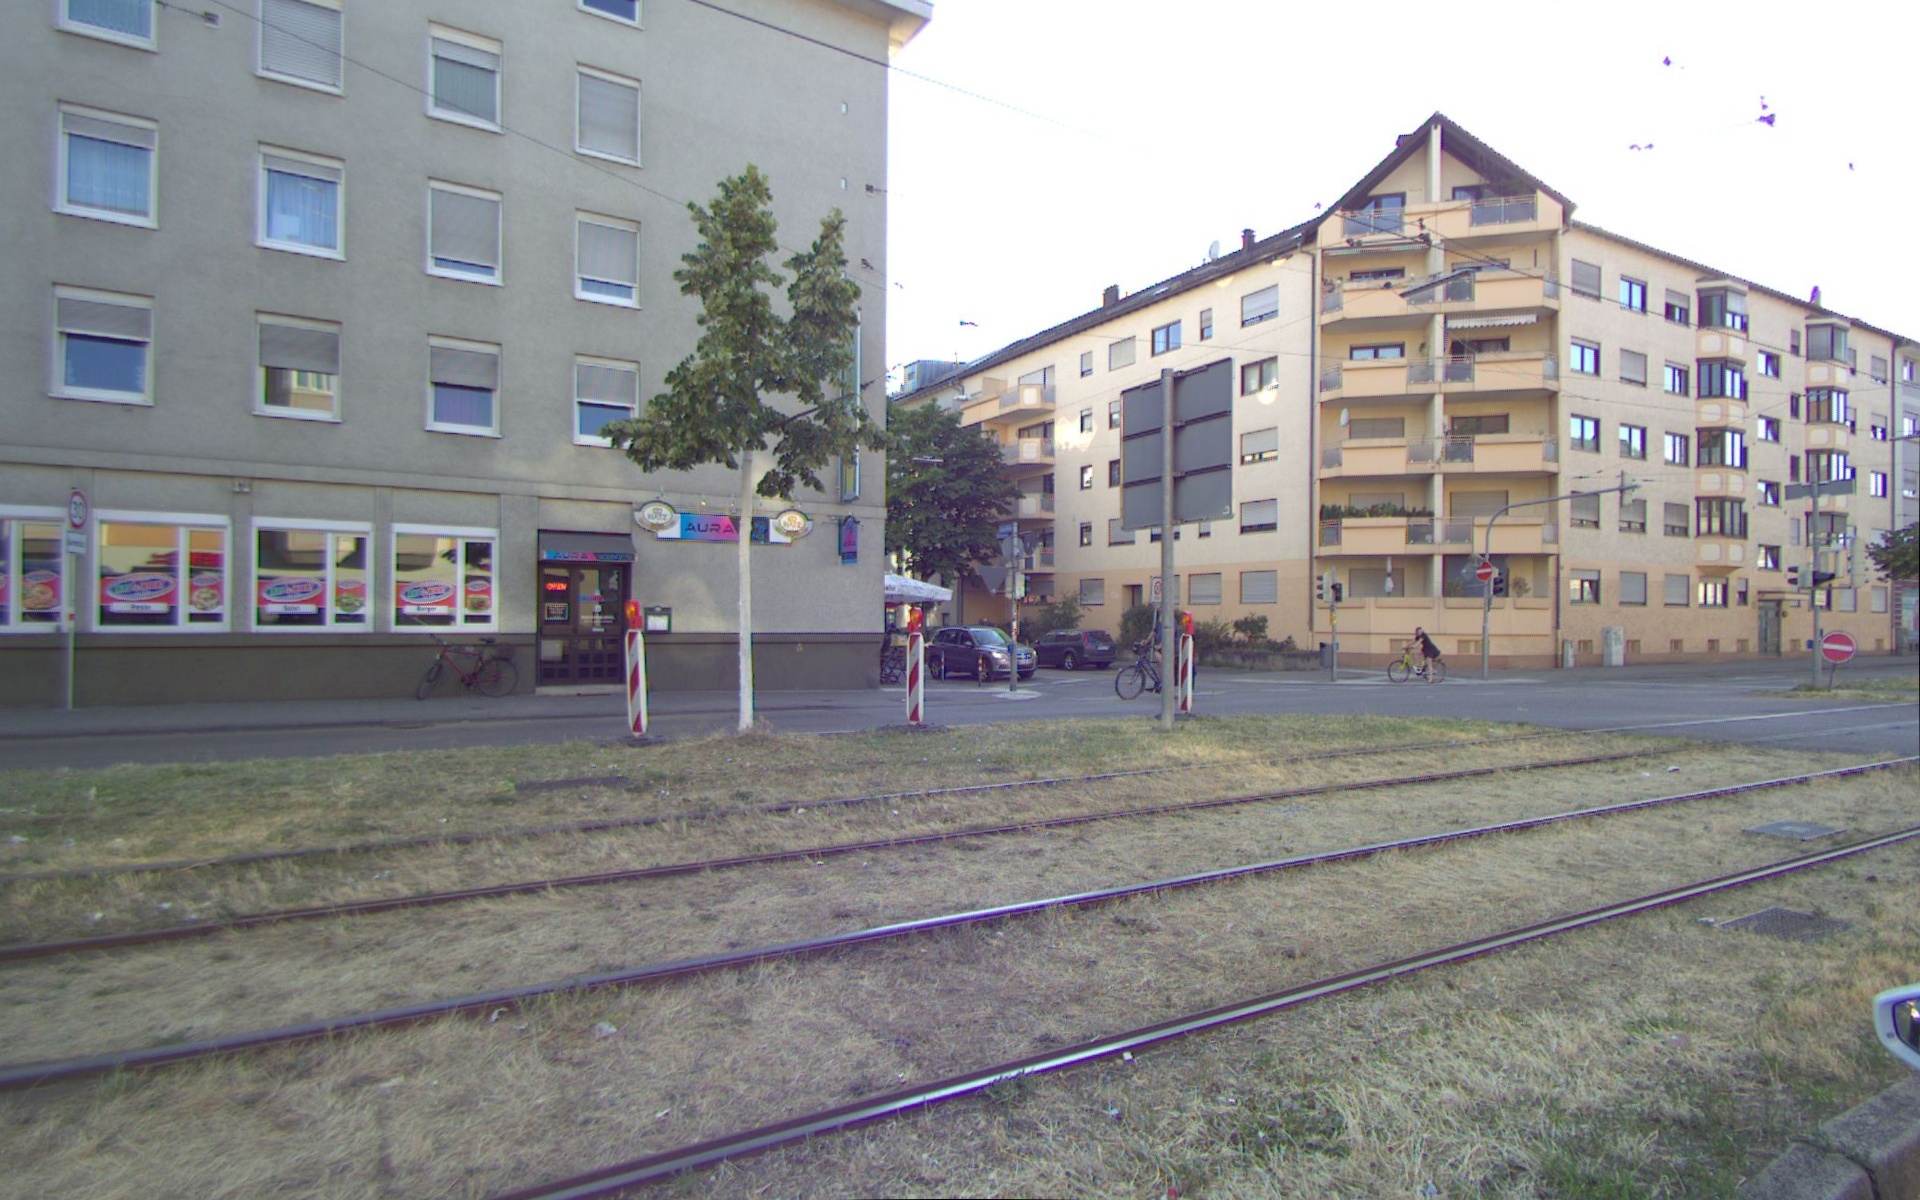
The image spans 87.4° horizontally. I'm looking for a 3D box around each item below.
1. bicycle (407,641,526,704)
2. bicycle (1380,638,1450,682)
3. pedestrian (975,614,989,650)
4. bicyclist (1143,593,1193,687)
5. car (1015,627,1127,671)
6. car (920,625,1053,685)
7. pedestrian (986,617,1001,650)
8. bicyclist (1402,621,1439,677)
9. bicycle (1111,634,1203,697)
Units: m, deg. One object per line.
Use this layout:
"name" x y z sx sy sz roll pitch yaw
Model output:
"bicycle" -8.676 1.263 17.687 1.823 1.037 0.605 2 0 -31
"bicycle" 13.299 1.756 29.394 1.833 1.274 0.457 0 0 3
"pedestrian" 1.065 1.541 48.608 0.456 1.727 0.589 2 0 -24
"bicyclist" 4.338 0.828 20.994 0.793 1.907 0.653 2 0 -4
"car" 4.097 1.797 37.629 1.982 1.462 3.957 -1 0 -38
"car" 0.759 1.652 31.458 1.982 1.645 4.153 -2 0 -38
"pedestrian" 1.643 1.641 48.839 0.509 1.573 0.547 2 0 -24
"bicyclist" 13.458 1.429 29.375 0.793 1.607 0.628 0 0 4
"bicycle" 4.097 1.359 20.962 1.835 1.274 0.456 0 0 -4
